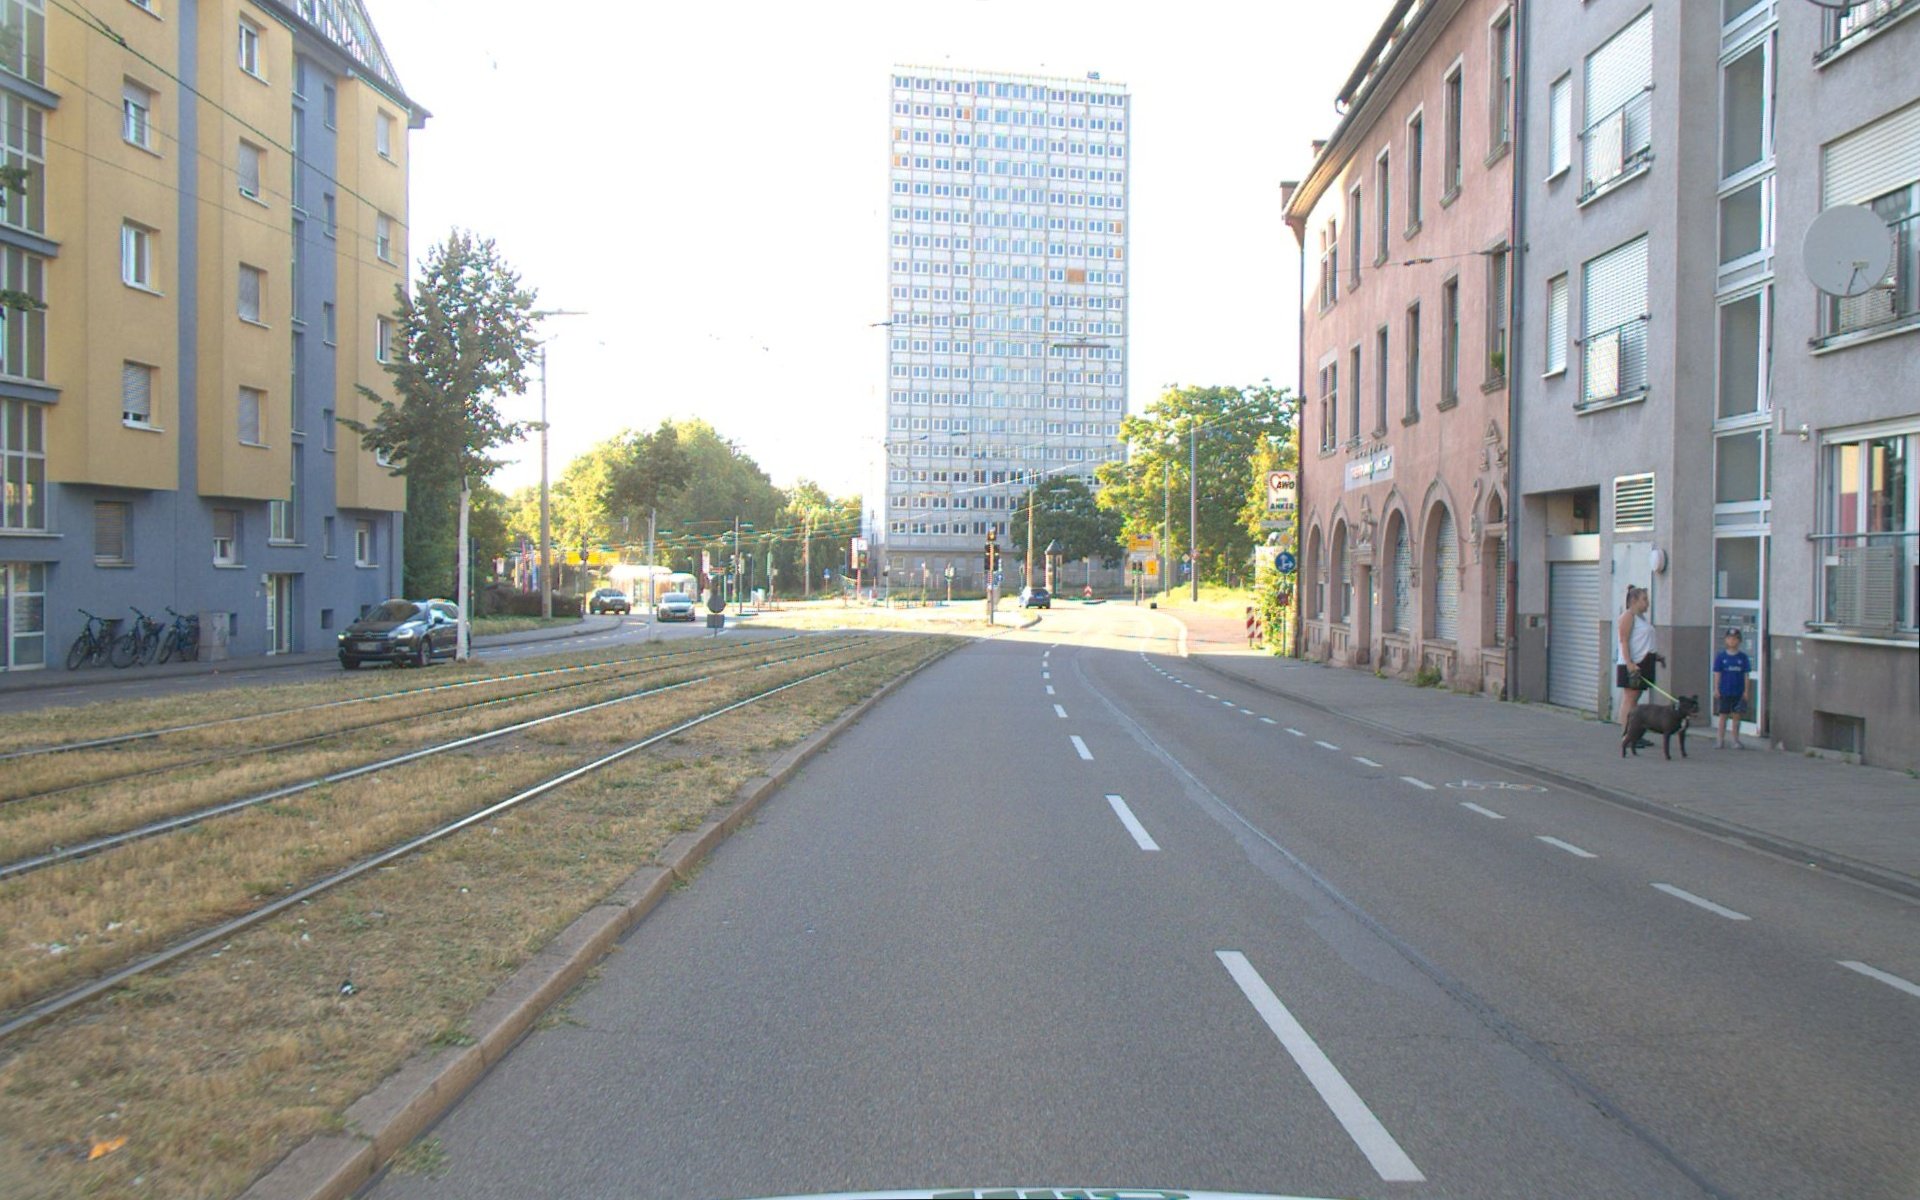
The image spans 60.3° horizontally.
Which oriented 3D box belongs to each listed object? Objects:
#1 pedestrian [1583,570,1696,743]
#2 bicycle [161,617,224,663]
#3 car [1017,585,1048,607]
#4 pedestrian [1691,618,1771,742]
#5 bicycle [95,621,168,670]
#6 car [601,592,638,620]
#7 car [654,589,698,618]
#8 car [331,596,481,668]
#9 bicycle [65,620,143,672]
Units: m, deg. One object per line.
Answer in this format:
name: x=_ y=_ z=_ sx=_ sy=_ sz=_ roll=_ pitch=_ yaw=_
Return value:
pedestrian: x=7.280 y=0.584 z=17.755 sx=0.813 sy=1.802 sz=0.996 roll=0 pitch=0 yaw=1
bicycle: x=-16.971 y=0.871 z=36.597 sx=0.418 sy=0.976 sz=1.912 roll=0 pitch=0 yaw=3
car: x=4.948 y=-0.311 z=113.175 sx=1.737 sy=1.447 sz=3.853 roll=0 pitch=1 yaw=-4
pedestrian: x=8.101 y=0.830 z=17.385 sx=0.575 sy=1.273 sz=0.585 roll=0 pitch=0 yaw=1
bicycle: x=-17.087 y=0.925 z=34.147 sx=0.418 sy=0.941 sz=1.912 roll=4 pitch=0 yaw=3
car: x=-22.203 y=0.360 z=107.748 sx=1.888 sy=1.691 sz=4.686 roll=-1 pitch=1 yaw=-17
car: x=-15.046 y=0.197 z=87.807 sx=1.663 sy=1.485 sz=4.315 roll=-1 pitch=0 yaw=-1
car: x=-12.615 y=0.693 z=37.980 sx=1.756 sy=1.494 sz=4.796 roll=-2 pitch=0 yaw=0
bicycle: x=-16.992 y=0.906 z=32.871 sx=0.418 sy=0.941 sz=1.912 roll=3 pitch=0 yaw=3
